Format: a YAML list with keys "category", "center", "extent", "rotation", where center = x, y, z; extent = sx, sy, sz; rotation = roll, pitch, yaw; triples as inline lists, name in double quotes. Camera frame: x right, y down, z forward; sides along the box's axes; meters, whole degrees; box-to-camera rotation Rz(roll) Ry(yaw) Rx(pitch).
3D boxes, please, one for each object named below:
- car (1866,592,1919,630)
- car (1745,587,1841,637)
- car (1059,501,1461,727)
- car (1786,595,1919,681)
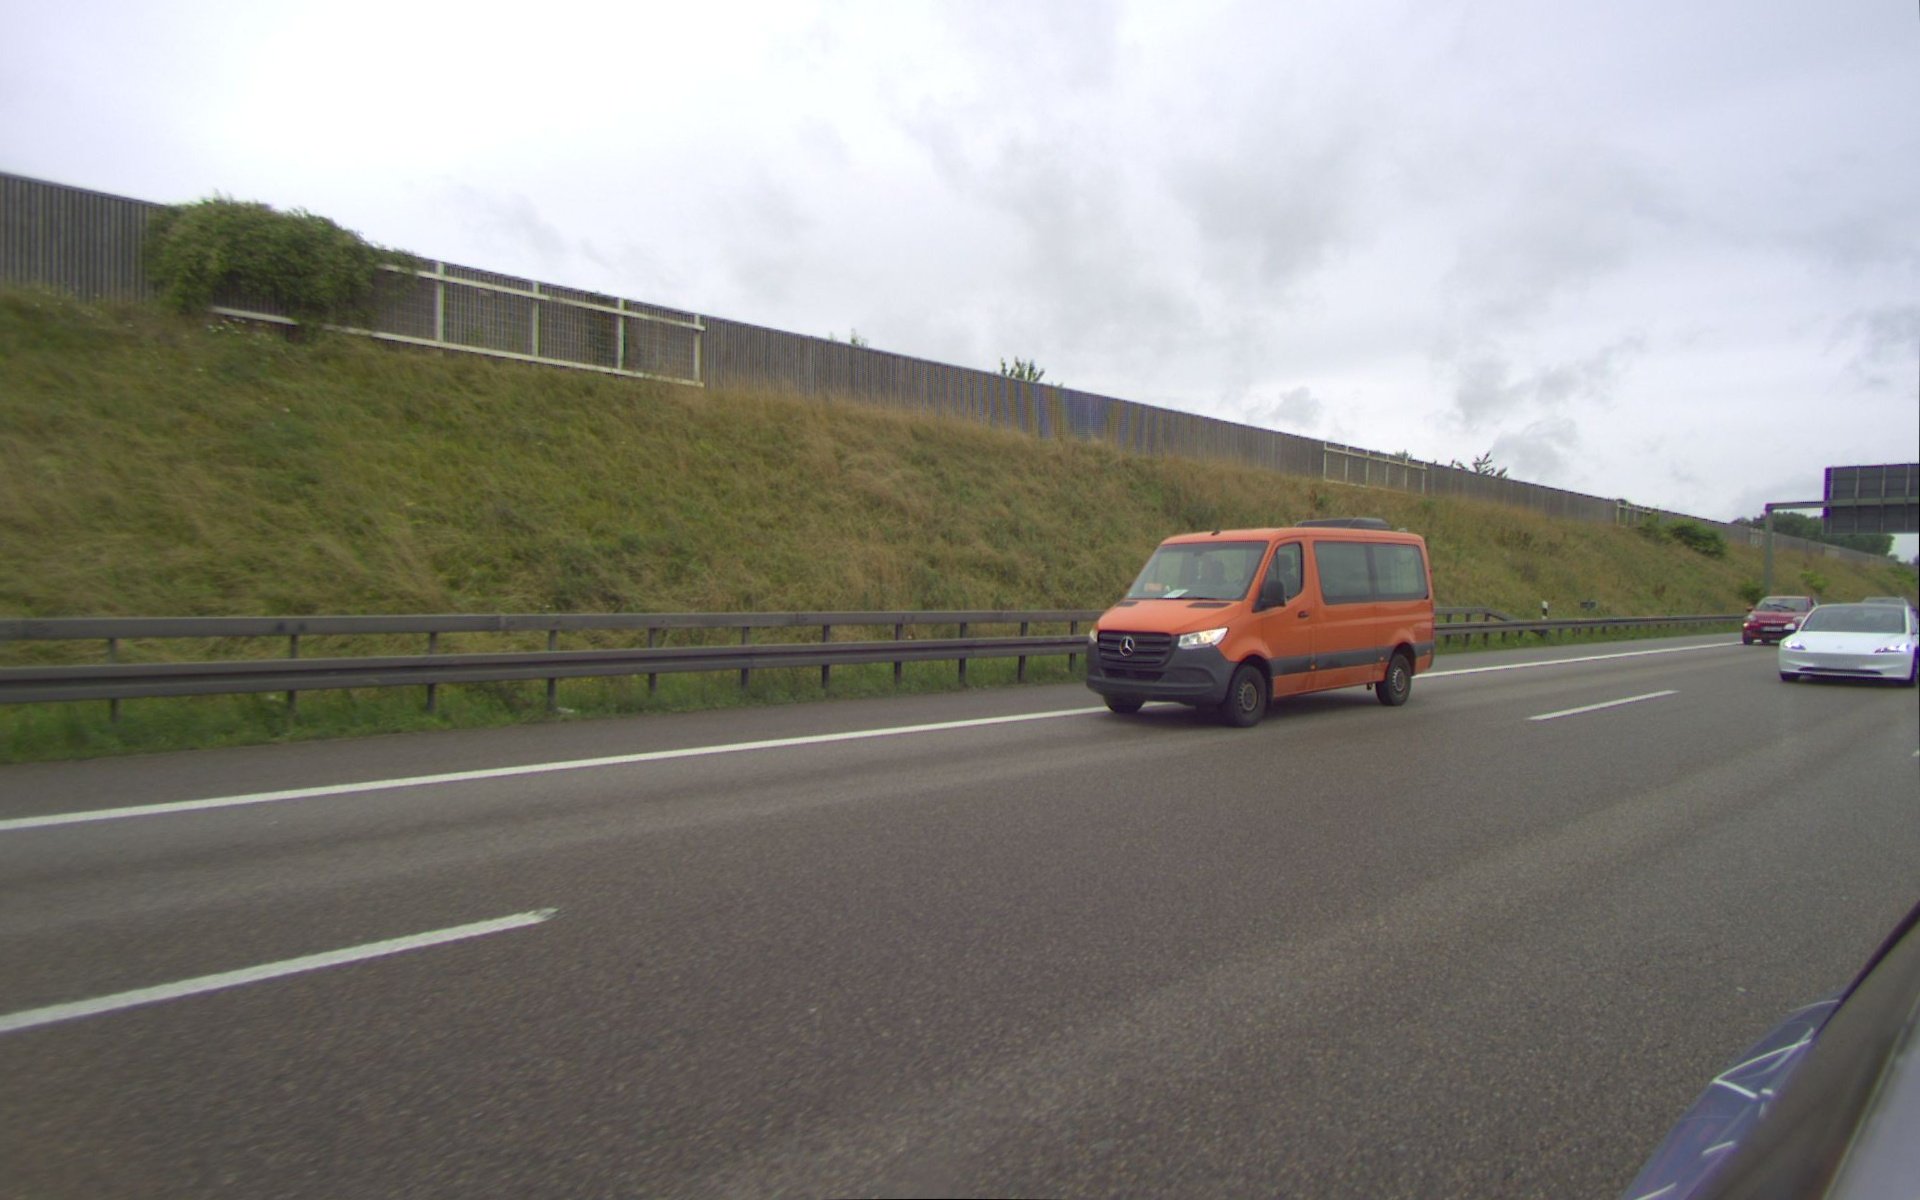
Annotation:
- category: "car"
  center: [40.314, 0.433, 43.238]
  extent: [4.408, 1.507, 1.927]
  rotation: [-1, 0, -42]
- category: "car"
  center: [27.545, 0.350, 33.435]
  extent: [3.931, 1.554, 1.876]
  rotation: [-1, 0, -42]
- category: "car"
  center: [4.174, 0.119, 13.286]
  extent: [6.072, 2.344, 2.090]
  rotation: [0, 1, -40]
- category: "car"
  center: [17.089, 0.622, 18.857]
  extent: [4.729, 1.380, 1.876]
  rotation: [-1, 1, -41]
